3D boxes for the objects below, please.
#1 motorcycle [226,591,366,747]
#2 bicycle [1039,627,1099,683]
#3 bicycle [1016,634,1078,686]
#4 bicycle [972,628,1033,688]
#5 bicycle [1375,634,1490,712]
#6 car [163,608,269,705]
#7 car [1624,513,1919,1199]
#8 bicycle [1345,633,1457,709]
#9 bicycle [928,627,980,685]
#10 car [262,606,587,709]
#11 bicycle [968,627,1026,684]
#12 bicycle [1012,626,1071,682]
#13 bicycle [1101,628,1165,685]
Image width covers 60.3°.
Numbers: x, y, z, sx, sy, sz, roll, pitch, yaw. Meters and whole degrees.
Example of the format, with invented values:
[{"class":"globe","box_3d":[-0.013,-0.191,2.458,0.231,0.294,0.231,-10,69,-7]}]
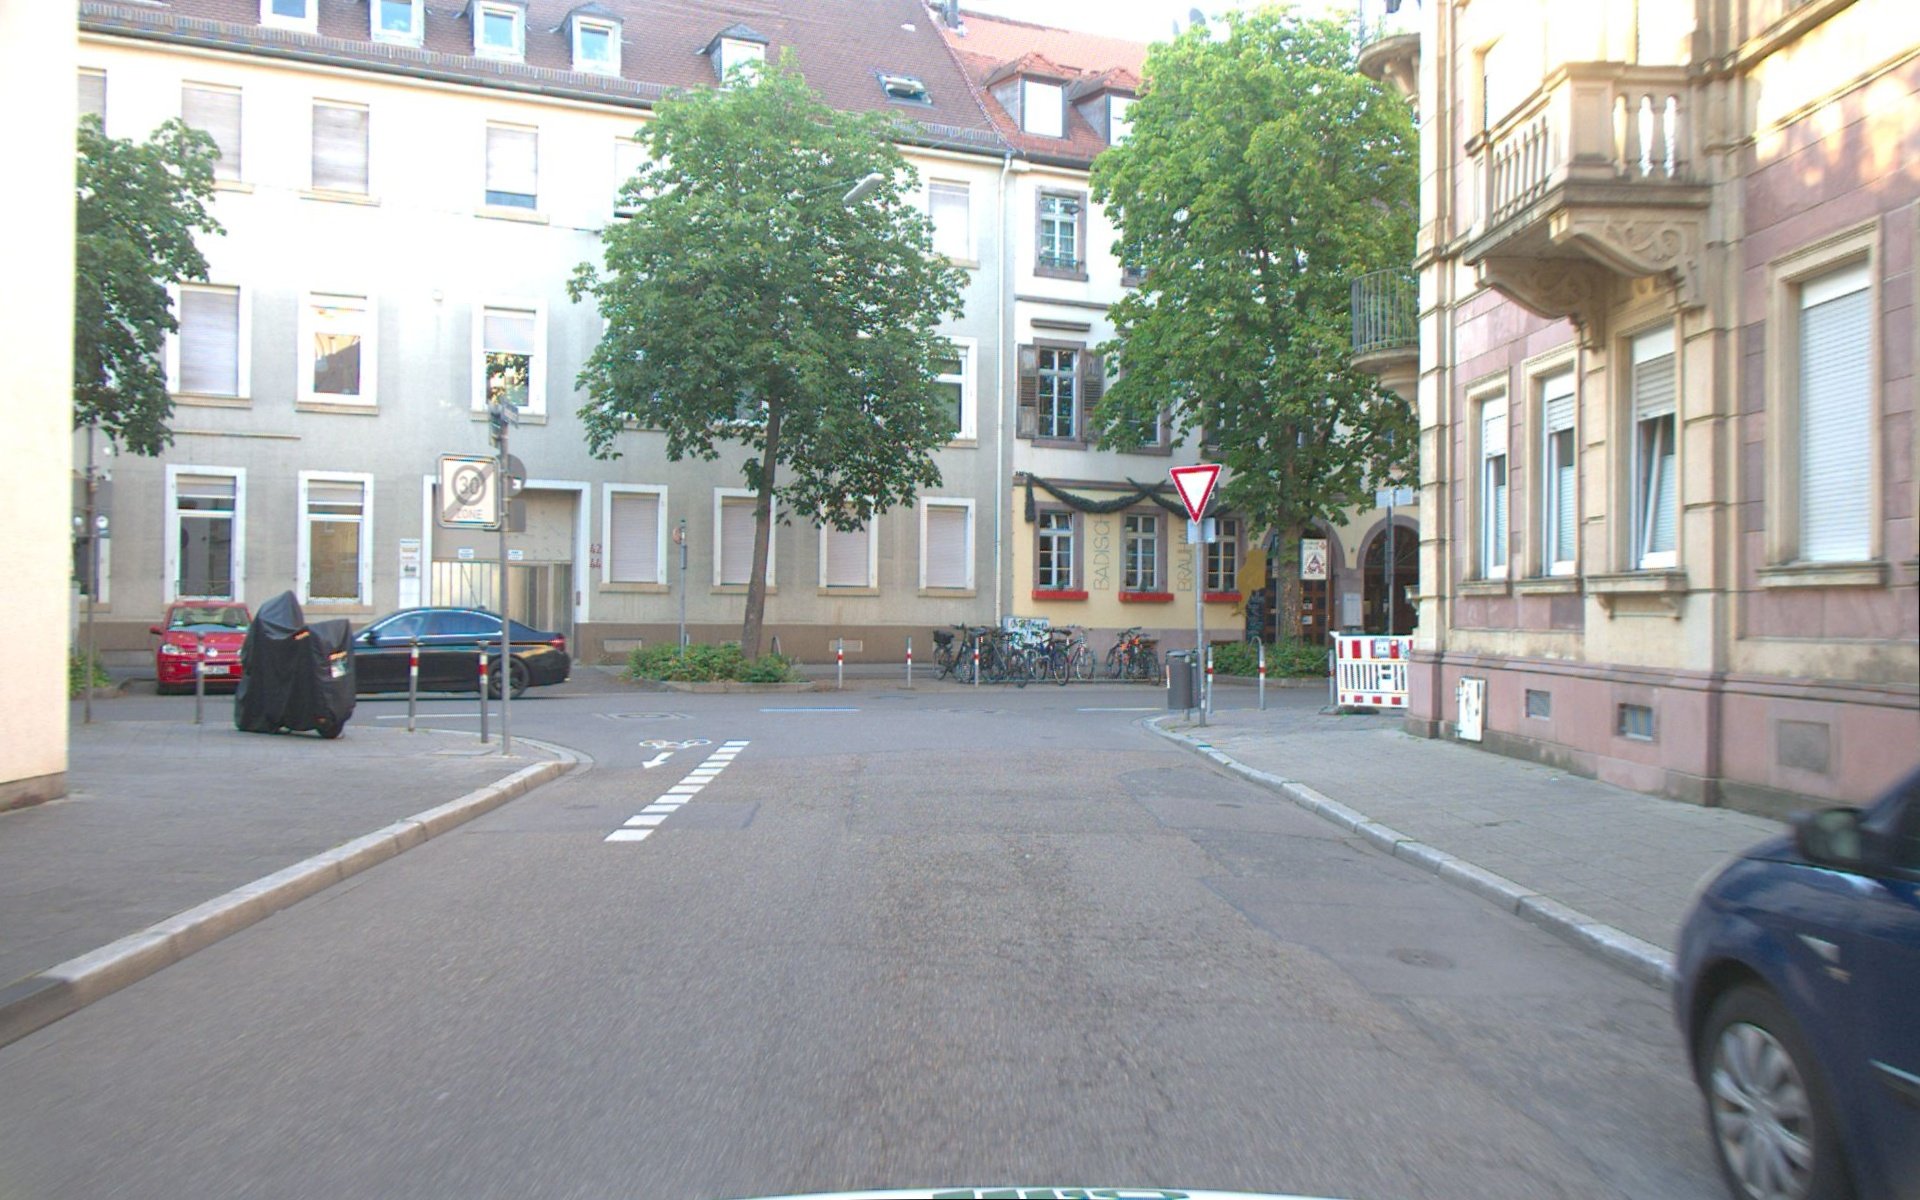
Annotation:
[{"class":"motorcycle","box_3d":[-7.196,0.712,17.878,0.664,1.583,2.127,1,-1,-44]},{"class":"bicycle","box_3d":[2.359,1.181,36.095,0.414,1.166,2.026,0,-1,-24]},{"class":"bicycle","box_3d":[1.793,1.224,34.419,0.414,1.021,2.026,0,-1,-24]},{"class":"bicycle","box_3d":[0.849,1.166,33.611,0.439,1.166,2.028,0,-1,-23]},{"class":"bicycle","box_3d":[7.166,1.099,25.073,1.839,1.108,0.362,-1,-2,-24]},{"class":"car","box_3d":[-12.645,0.897,28.047,1.541,1.501,3.638,0,0,-25]},{"class":"car","box_3d":[2.836,0.653,2.692,1.656,1.653,4.051,0,0,-4]},{"class":"bicycle","box_3d":[6.852,1.098,25.670,1.839,1.108,0.362,-1,-2,-24]},{"class":"bicycle","box_3d":[-0.138,1.153,34.736,0.438,1.166,2.030,0,-1,-20]},{"class":"car","box_3d":[-8.261,0.842,25.599,4.598,1.475,1.752,0,-1,-28]},{"class":"bicycle","box_3d":[0.778,1.168,35.154,0.414,1.166,2.026,0,-1,-24]},{"class":"bicycle","box_3d":[1.751,1.148,35.751,0.414,1.166,2.026,0,-1,-24]},{"class":"bicycle","box_3d":[3.700,1.199,35.613,0.414,1.166,2.026,0,-1,-24]}]
